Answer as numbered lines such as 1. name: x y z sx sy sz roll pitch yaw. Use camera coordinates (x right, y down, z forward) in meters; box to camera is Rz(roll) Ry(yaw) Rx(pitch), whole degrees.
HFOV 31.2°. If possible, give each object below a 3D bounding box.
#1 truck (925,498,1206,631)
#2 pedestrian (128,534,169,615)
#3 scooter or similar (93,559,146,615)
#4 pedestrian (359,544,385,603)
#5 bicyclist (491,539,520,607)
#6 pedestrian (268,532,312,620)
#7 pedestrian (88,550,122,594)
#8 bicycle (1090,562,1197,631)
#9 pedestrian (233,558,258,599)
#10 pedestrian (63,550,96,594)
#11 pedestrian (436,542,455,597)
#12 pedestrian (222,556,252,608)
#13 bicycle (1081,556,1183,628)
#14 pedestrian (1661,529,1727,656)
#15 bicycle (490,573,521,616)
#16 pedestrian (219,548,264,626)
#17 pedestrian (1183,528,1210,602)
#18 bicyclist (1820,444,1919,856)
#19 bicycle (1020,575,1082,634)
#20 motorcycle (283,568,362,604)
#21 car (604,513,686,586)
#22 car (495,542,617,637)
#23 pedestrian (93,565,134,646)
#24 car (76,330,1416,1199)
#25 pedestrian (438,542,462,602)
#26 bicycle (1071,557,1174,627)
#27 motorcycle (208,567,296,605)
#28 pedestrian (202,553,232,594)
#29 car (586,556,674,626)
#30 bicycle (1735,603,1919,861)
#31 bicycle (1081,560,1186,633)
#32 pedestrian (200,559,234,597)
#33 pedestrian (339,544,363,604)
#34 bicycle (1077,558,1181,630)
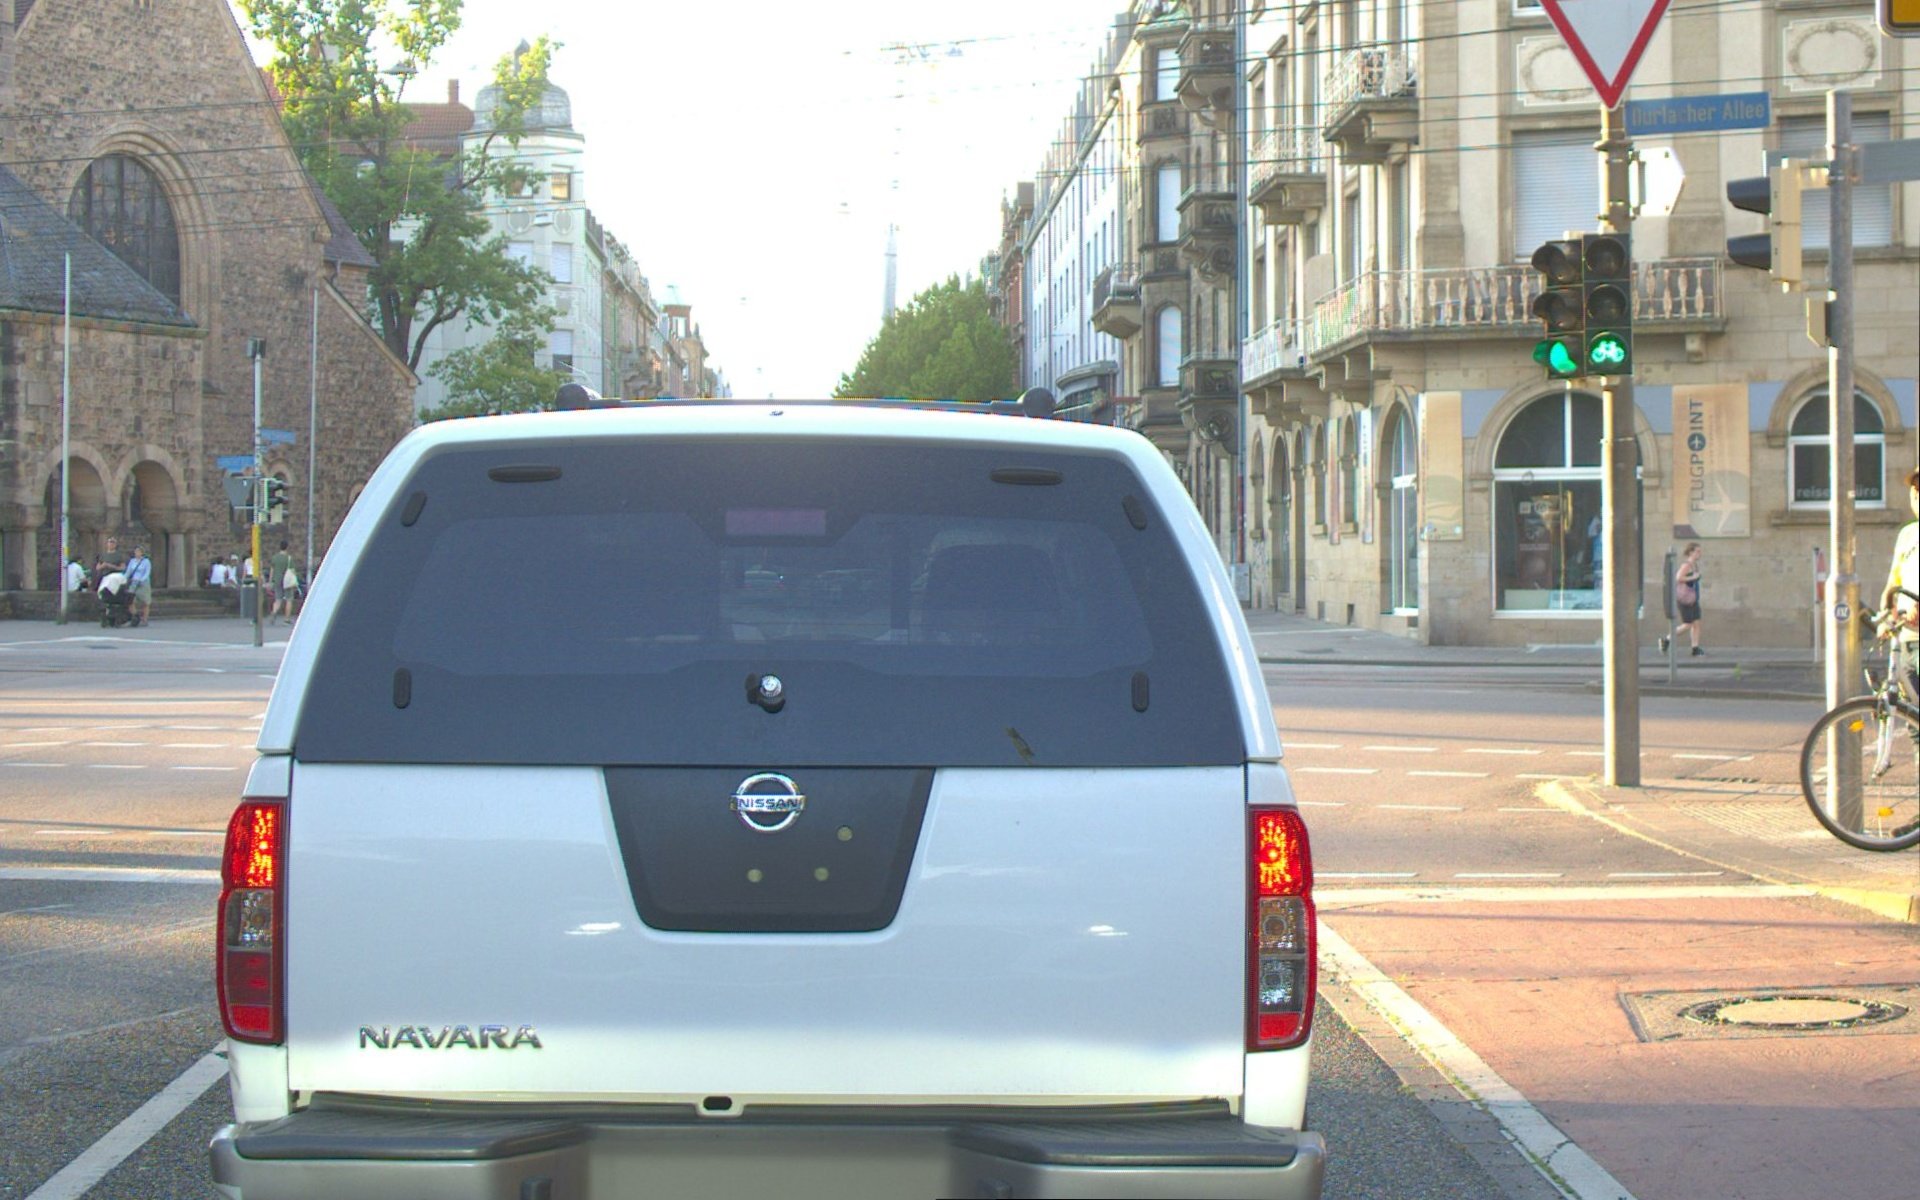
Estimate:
1. truck: 2.154 -0.706 68.800 5.658 2.556 2.286 0 1 -44
2. pedestrian: -17.083 -0.540 72.364 0.634 1.693 0.602 1 0 10
3. scooter or similar: -17.436 -0.271 71.326 0.634 1.099 1.078 -2 1 11
4. pedestrian: -17.079 -0.773 99.834 0.642 1.690 0.562 1 0 -1
5. bicyclist: -11.111 -0.662 84.035 0.599 1.639 0.963 1 0 -2
6. pedestrian: -14.572 -0.524 74.798 0.812 1.894 0.666 1 0 -3
7. pedestrian: -18.577 -0.603 74.703 0.522 0.957 0.479 1 0 19
8. bicycle: 3.320 -0.065 62.245 1.817 1.146 0.636 -3 0 -2
9. pedestrian: -16.666 -0.500 80.226 0.521 0.957 0.479 1 0 -16
10. pedestrian: -19.204 -0.612 74.977 0.522 0.957 0.479 1 0 19
11. pedestrian: -15.962 -0.951 106.676 0.560 1.690 0.645 1 0 -8
12. pedestrian: -17.238 -0.435 81.960 0.478 1.241 0.523 1 0 17
13. bicycle: 3.228 -0.149 64.622 1.817 1.233 0.412 -3 0 -2
14. pedestrian: 10.367 -0.112 48.575 0.788 1.773 0.543 1 0 25
15. bicycle: -11.108 -0.139 84.015 0.599 1.040 1.946 1 0 -3
16. pedestrian: -15.591 -0.277 74.646 0.812 1.664 0.860 1 0 -3
17. pedestrian: 5.274 -0.778 76.627 0.527 1.648 0.547 1 0 -1
18. bicyclist: 4.392 0.221 15.582 0.696 1.818 0.628 1 0 -33
19. bicycle: 1.685 0.080 63.593 1.076 1.021 0.317 -3 0 -2
20. motorcycle: -17.812 -0.382 96.022 2.167 0.984 0.593 1 0 19
21. car: -8.875 -1.415 97.176 1.993 2.007 4.951 -1 0 -2
22. car: -8.022 -0.248 68.654 1.993 1.778 4.798 0 1 -2
23. pedestrian: -17.850 0.104 72.484 0.634 1.693 0.602 1 0 7
24. car: -0.347 0.503 7.172 1.993 1.803 4.000 1 0 -1
25. pedestrian: -15.701 -0.861 105.838 0.642 1.849 0.562 1 0 -15
26. bicycle: 3.099 -0.153 65.758 1.855 1.233 0.531 -3 0 -2
27. motorcycle: -18.880 -0.377 91.705 2.243 0.984 0.708 1 0 -6
28. pedestrian: -17.378 -0.612 80.413 0.522 0.957 0.479 1 0 17
29. car: -7.889 -0.248 82.350 1.993 1.552 4.770 -2 1 -5
30. bicycle: 4.515 0.580 15.674 2.065 1.106 0.628 1 0 -33
31. bicycle: 3.186 -0.072 63.185 1.817 1.233 0.488 -3 0 -2
32. pedestrian: -19.145 -0.571 88.615 0.552 0.957 0.709 1 0 20
33. pedestrian: -17.270 -0.725 97.532 0.642 1.690 0.562 1 0 -9
34. bicycle: 3.136 -0.113 63.896 1.817 1.233 0.478 -3 0 -2
